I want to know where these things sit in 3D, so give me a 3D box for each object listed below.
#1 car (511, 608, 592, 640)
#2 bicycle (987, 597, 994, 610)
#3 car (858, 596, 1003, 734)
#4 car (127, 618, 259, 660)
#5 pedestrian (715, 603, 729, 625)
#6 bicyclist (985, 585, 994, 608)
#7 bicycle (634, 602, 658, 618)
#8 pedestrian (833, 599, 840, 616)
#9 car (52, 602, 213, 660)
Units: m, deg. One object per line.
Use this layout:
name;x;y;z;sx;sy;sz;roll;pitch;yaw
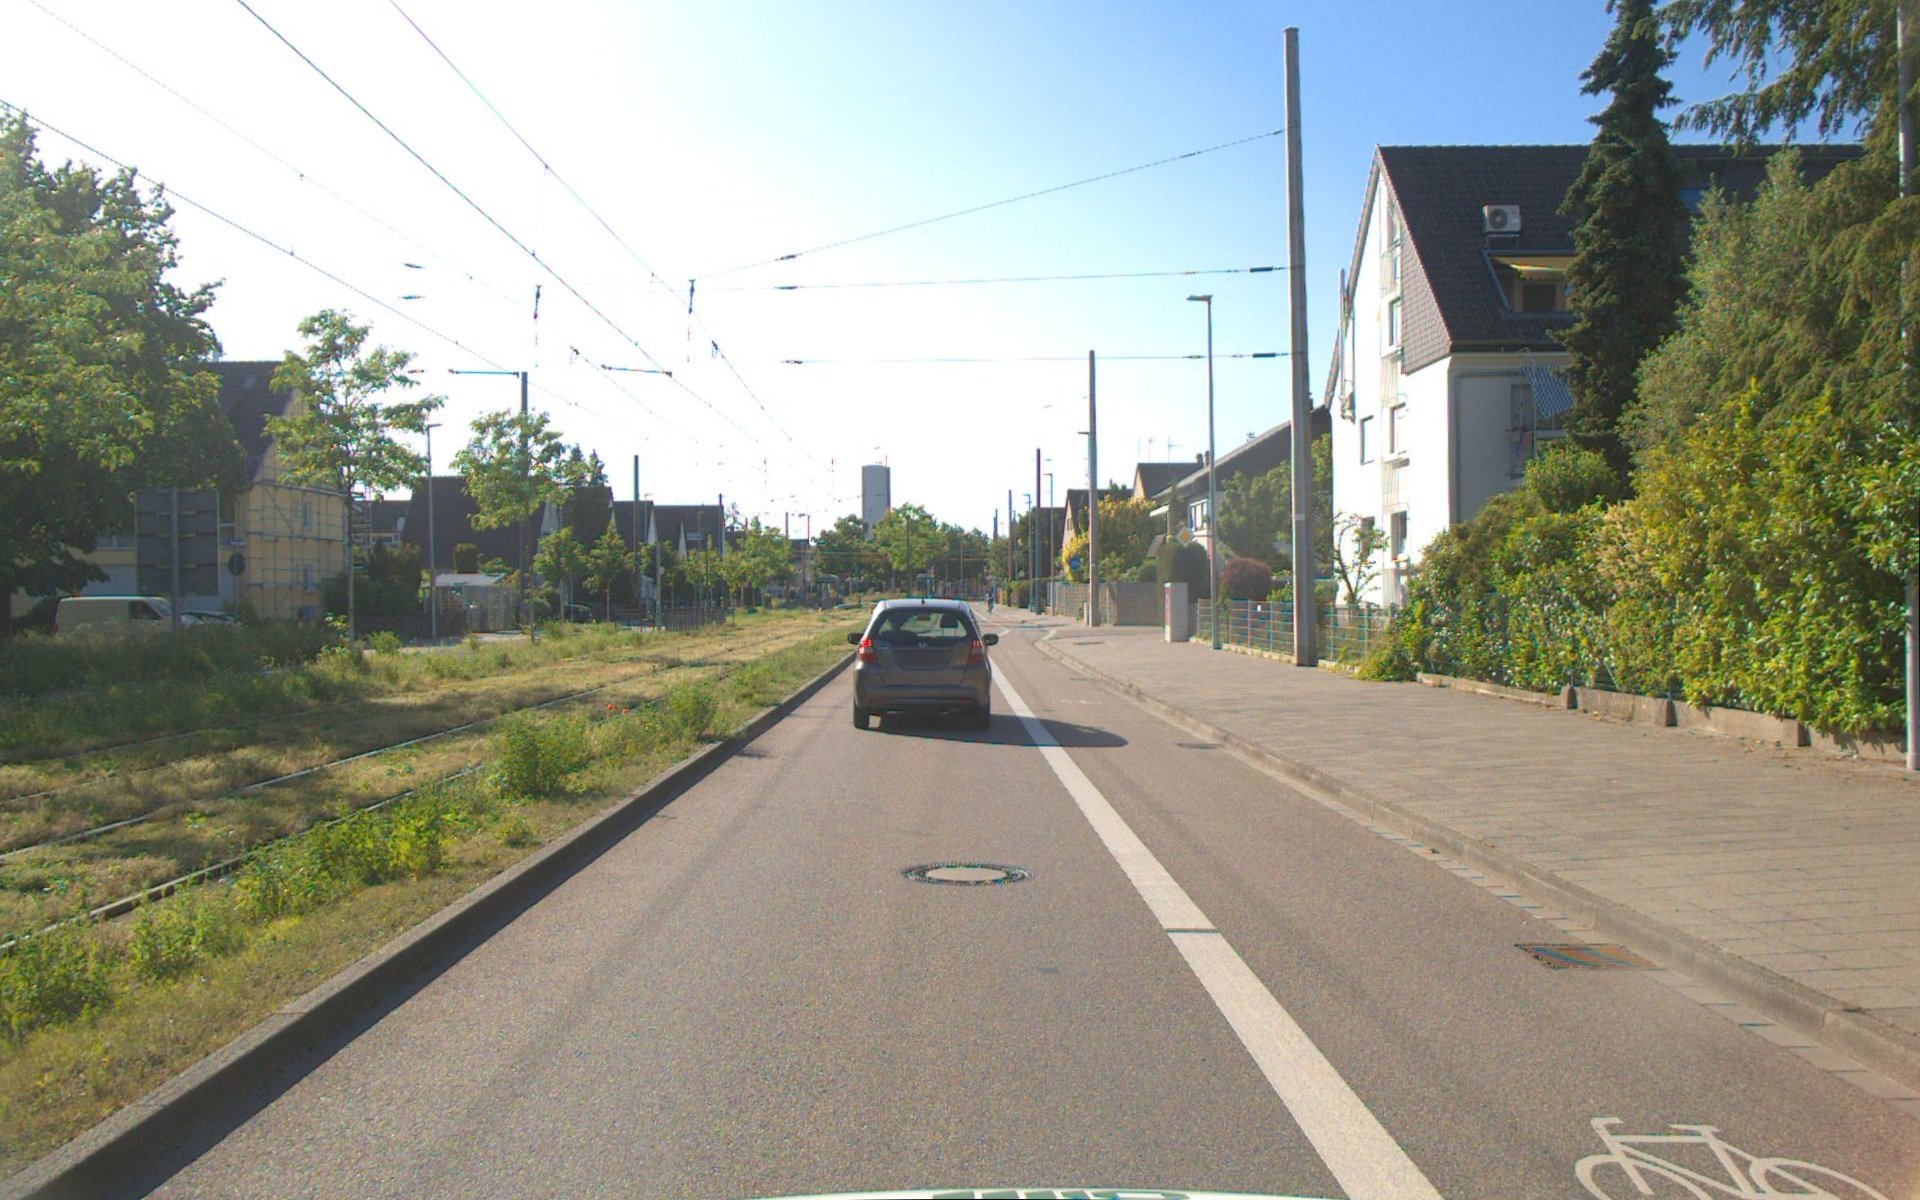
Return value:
car;-23.669;1.366;95.913;4.461;1.765;2.046;-1;0;-12
bicycle;2.371;0.267;128.740;0.465;0.978;1.657;1;-1;0
car;-0.402;0.768;20.733;1.637;1.562;3.485;1;-1;-2
car;-27.855;1.435;60.158;3.906;1.428;1.852;-1;-3;-2
pedestrian;-18.219;1.085;126.781;0.945;1.669;1.085;0;0;-1
bicyclist;2.293;-0.279;128.526;0.586;1.731;0.683;1;-1;0
bicycle;-26.924;0.861;141.872;1.951;1.389;0.704;0;-1;-8
pedestrian;-11.488;0.689;153.611;0.662;1.562;0.748;0;0;-5
car;-28.616;1.059;57.290;4.591;1.948;1.903;-1;0;-1
